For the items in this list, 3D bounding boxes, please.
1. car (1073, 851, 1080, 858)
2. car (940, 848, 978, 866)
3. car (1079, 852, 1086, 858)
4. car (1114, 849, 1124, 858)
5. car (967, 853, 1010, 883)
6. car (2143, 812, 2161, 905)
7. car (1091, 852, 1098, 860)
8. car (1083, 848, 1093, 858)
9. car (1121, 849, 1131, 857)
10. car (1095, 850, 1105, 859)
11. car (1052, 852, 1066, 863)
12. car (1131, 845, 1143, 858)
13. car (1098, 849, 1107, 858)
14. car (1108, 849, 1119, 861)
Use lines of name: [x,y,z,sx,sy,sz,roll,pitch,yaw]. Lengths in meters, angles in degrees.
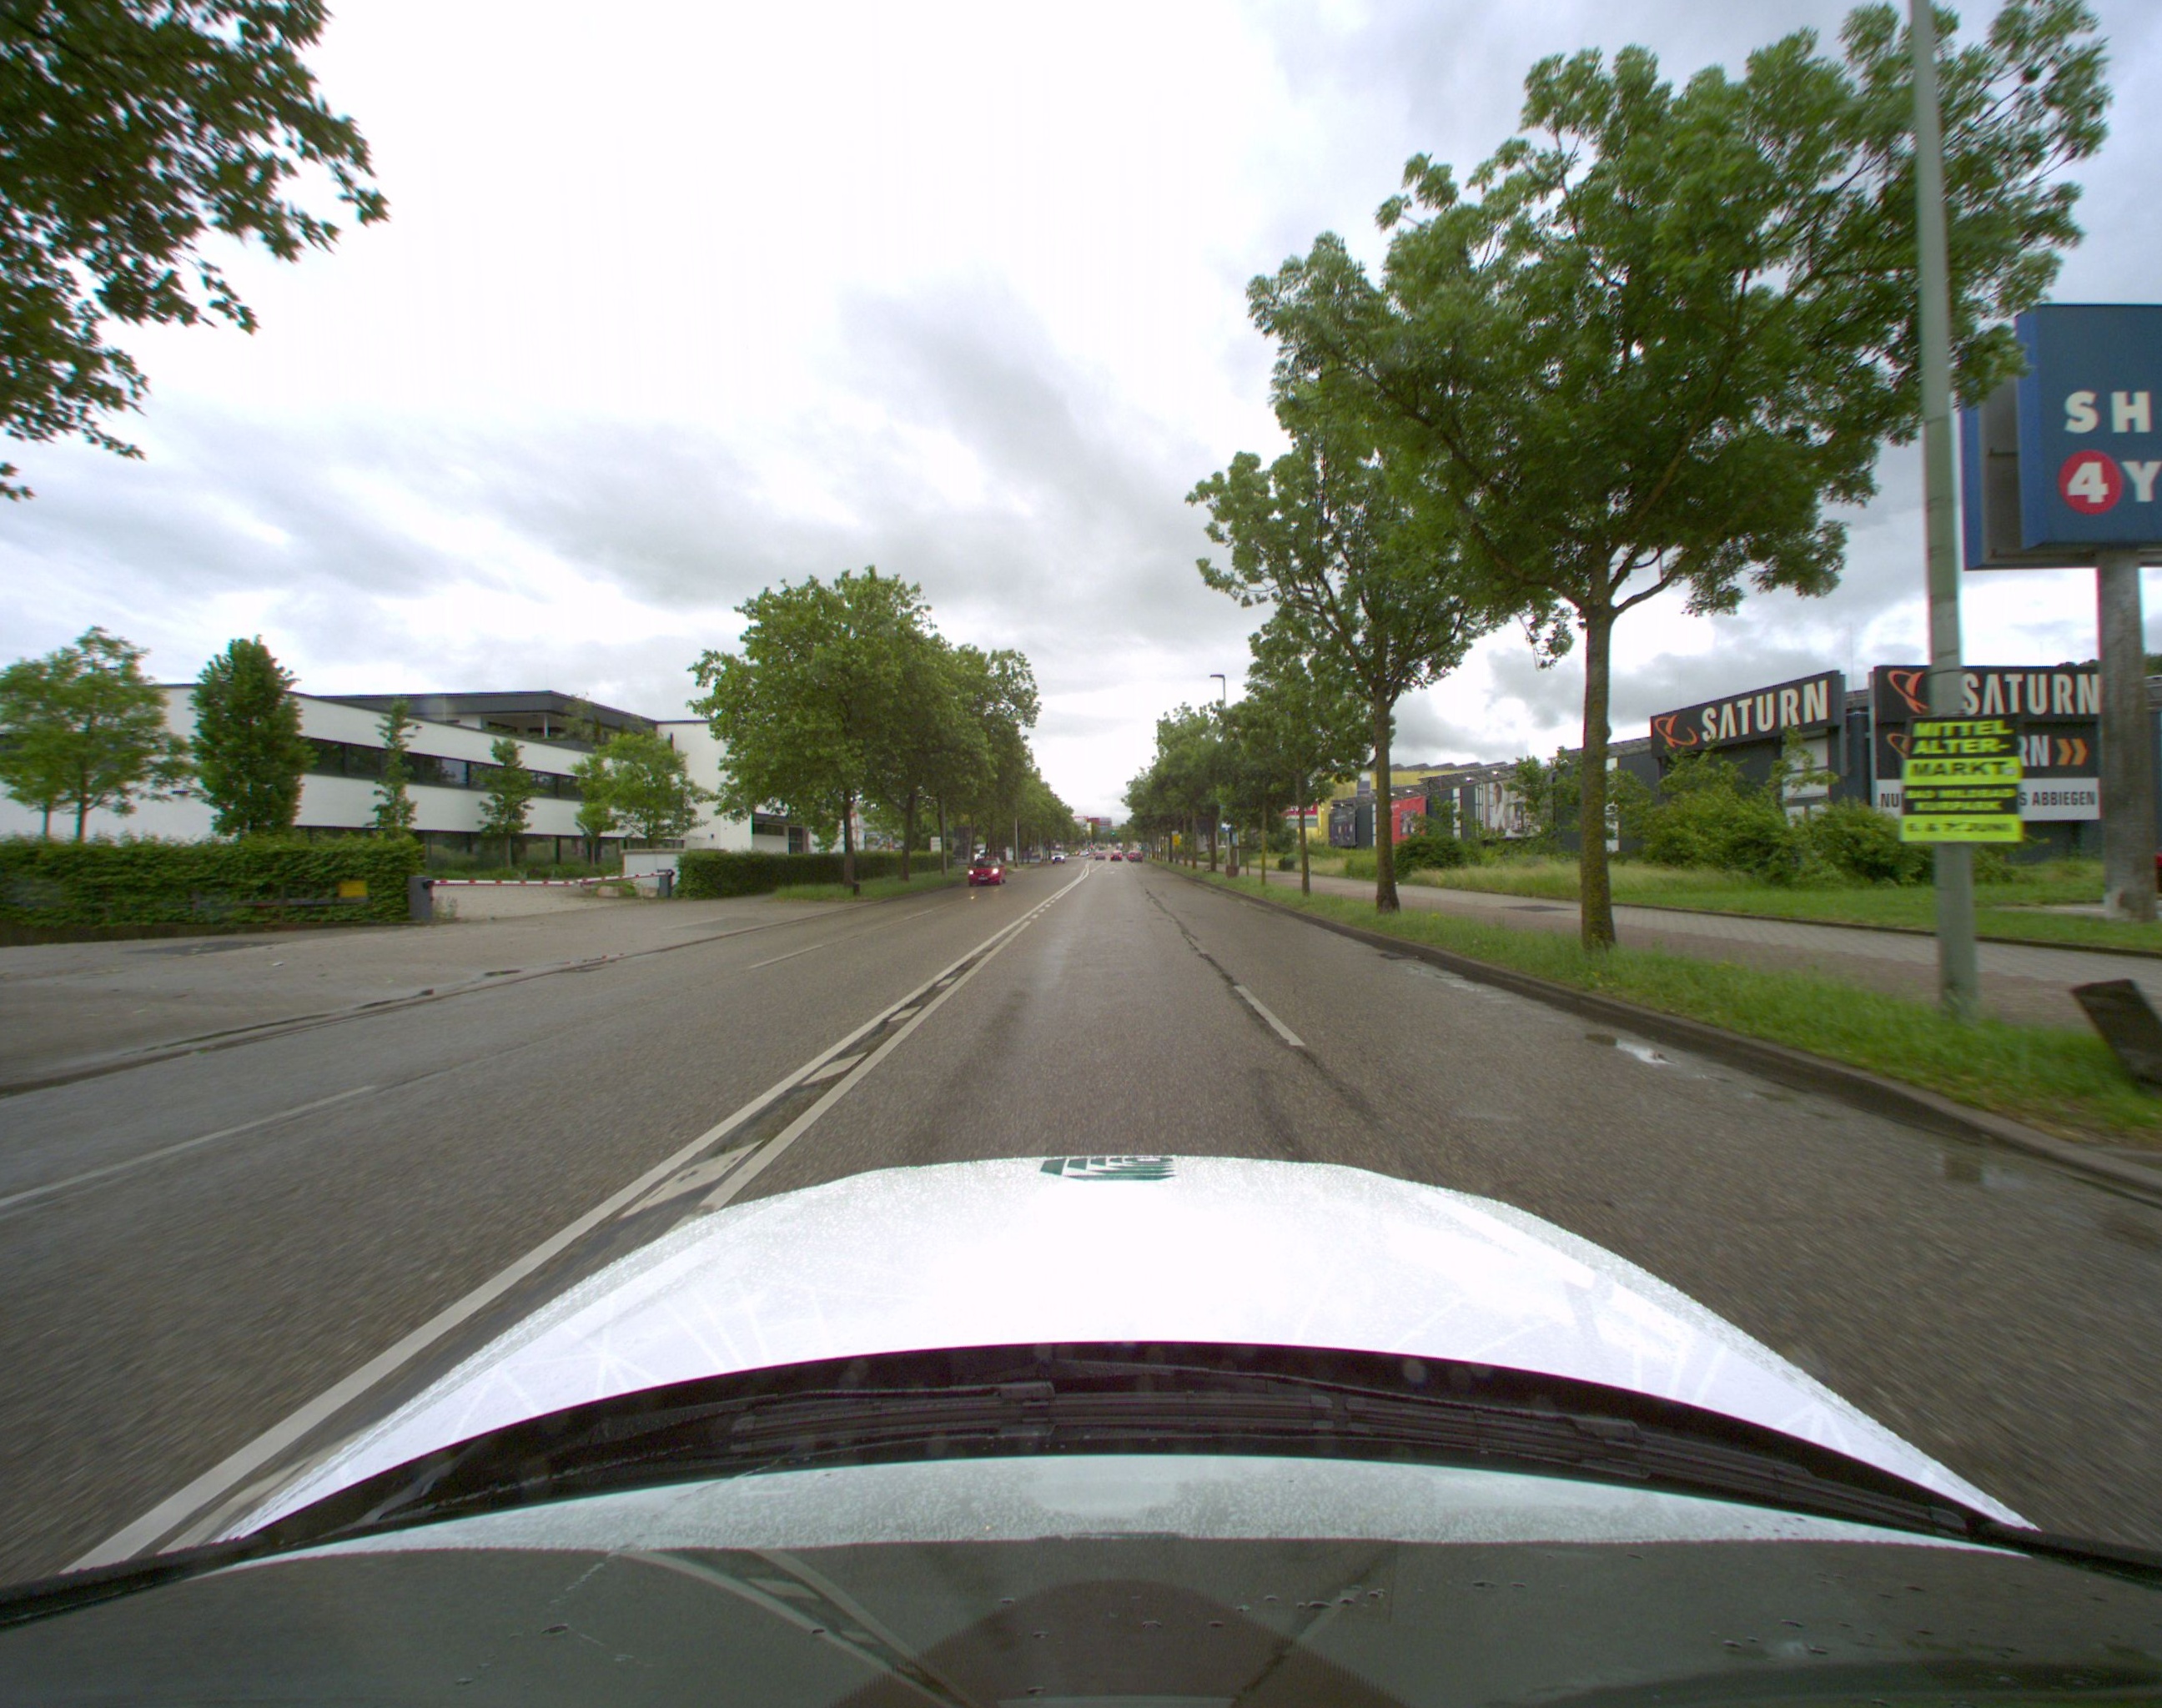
car: [-1.376,0.239,245.317,2.209,2.013,4.000,-2,0,0]
car: [-14.133,0.375,94.634,3.971,1.924,1.827,-2,-1,2]
car: [0.436,0.230,220.302,1.821,1.728,4.000,-2,0,0]
car: [7.166,-0.116,155.052,1.737,1.737,4.004,-2,0,4]
car: [-5.026,0.724,44.801,1.719,1.517,3.823,-2,0,2]
car: [17.453,0.054,10.576,1.576,1.428,4.255,-2,1,-7]
car: [3.369,0.409,206.437,1.821,2.013,4.000,-2,0,0]
car: [1.463,-0.197,177.588,1.986,2.013,4.002,-2,0,2]
car: [9.854,-0.208,177.910,1.986,1.794,4.002,-2,0,2]
car: [3.913,0.074,164.465,1.737,1.701,4.004,-2,0,4]
car: [-3.474,0.519,126.977,1.696,1.737,4.005,-2,0,5]
car: [8.828,-0.366,127.846,1.737,2.013,4.004,-2,0,4]
car: [4.757,-0.141,179.102,1.883,1.876,4.126,-2,0,2]
car: [5.733,0.088,141.578,1.737,2.013,4.004,-2,0,4]
